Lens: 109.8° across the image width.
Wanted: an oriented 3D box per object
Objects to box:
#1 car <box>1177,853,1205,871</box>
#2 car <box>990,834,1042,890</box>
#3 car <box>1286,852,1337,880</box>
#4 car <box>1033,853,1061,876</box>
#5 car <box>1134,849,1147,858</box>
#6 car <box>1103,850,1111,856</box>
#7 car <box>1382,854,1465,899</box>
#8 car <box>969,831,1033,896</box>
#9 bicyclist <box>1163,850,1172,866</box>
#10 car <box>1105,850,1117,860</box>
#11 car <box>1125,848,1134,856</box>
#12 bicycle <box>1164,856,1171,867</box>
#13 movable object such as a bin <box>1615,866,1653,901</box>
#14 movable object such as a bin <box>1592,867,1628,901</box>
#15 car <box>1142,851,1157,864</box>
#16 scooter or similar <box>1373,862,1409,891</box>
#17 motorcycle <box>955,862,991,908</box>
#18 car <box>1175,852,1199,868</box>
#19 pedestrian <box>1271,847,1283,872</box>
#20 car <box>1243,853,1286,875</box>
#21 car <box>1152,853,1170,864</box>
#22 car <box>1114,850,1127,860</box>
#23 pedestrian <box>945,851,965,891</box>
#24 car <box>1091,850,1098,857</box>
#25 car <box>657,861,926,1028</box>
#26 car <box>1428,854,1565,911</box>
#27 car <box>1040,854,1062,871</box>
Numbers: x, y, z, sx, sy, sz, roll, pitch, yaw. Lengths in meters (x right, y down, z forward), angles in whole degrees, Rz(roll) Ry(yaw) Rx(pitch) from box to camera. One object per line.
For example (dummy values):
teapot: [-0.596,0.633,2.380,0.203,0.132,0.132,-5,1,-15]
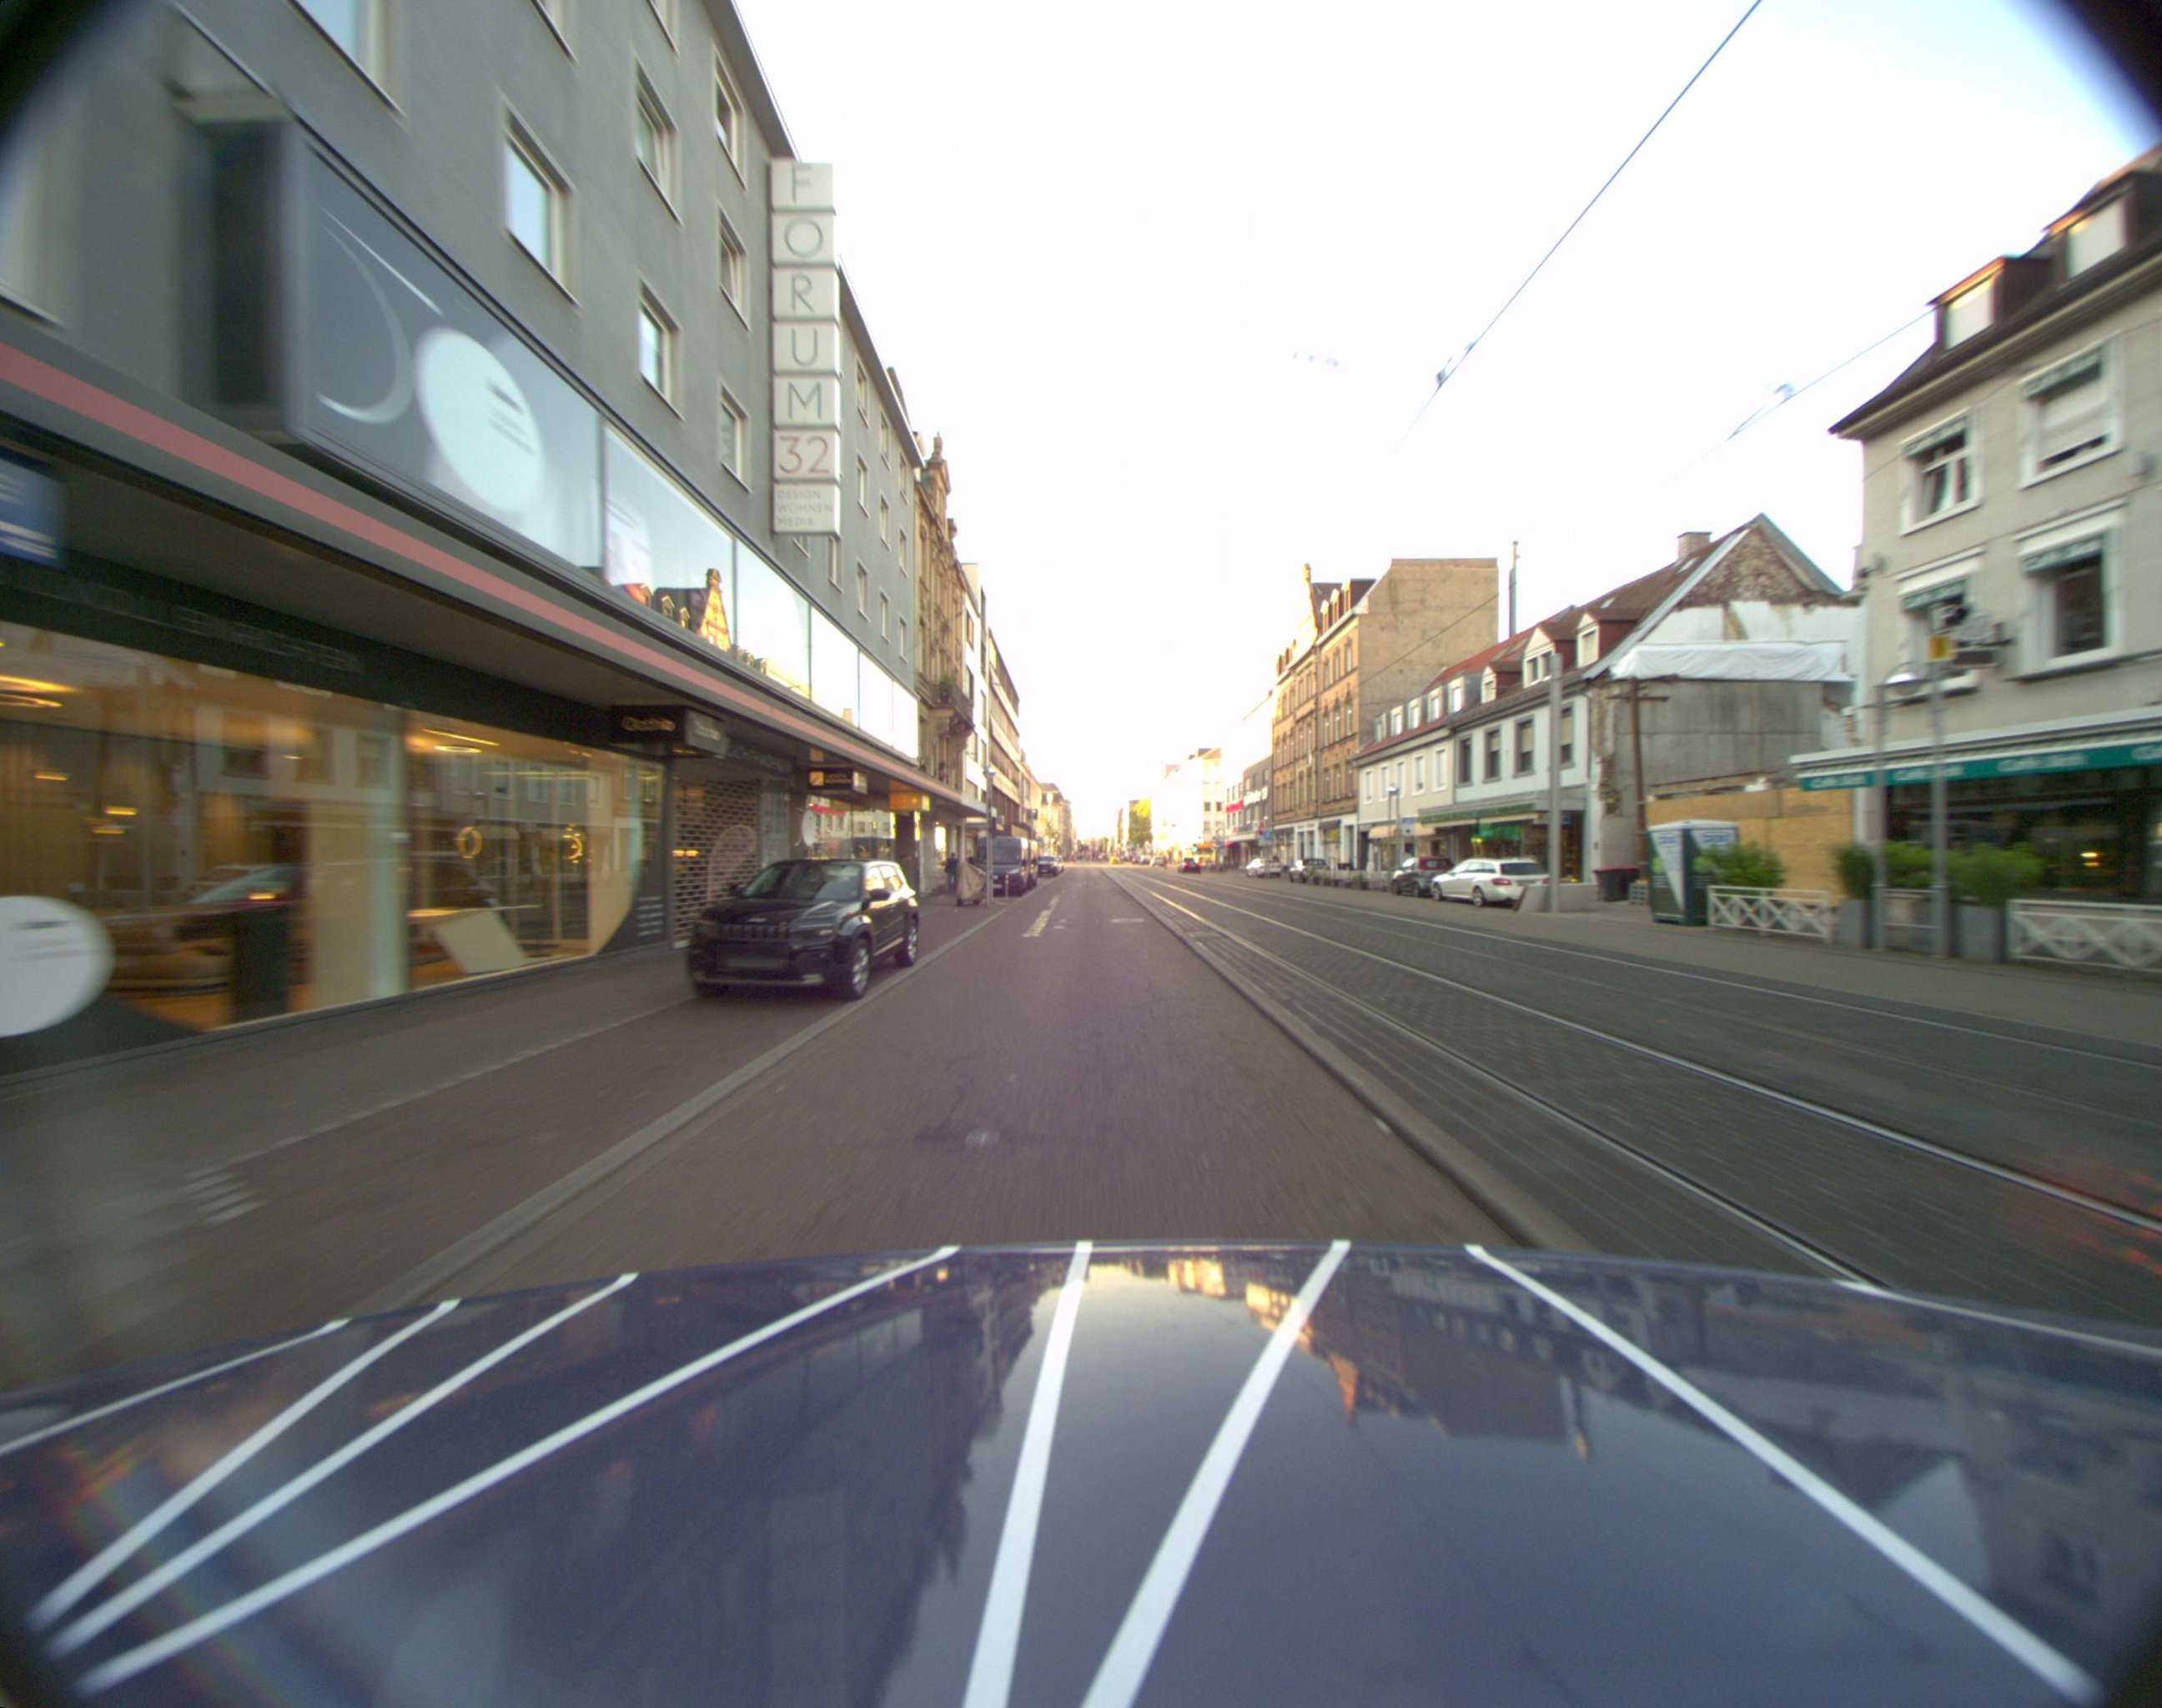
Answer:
car: [10.338,0.720,71.794,1.999,1.554,3.999,-2,1,0]
car: [-3.180,0.358,38.419,1.998,2.559,5.604,-2,1,1]
car: [13.588,0.704,44.986,1.846,1.484,3.815,-2,1,1]
car: [-2.675,0.845,60.794,1.999,1.663,3.876,-2,1,0]
car: [10.807,-0.093,138.931,1.999,1.685,3.999,-2,1,0]
car: [7.205,-0.394,209.425,1.998,1.546,3.683,-2,1,2]
car: [13.170,0.829,29.425,1.660,1.561,3.470,-2,1,1]
car: [-3.250,0.362,32.104,2.080,2.434,5.603,-2,0,-1]
bicyclist: [10.219,0.433,89.478,0.882,1.795,0.900,-2,1,1]
car: [6.155,0.189,155.487,1.999,1.781,3.681,-2,1,-3]
car: [12.163,-0.505,190.780,1.999,2.002,3.999,-2,1,0]
bicycle: [10.198,0.883,89.567,0.493,1.183,2.265,-2,1,0]
movable object such as a bin: [17.225,0.919,23.676,0.684,1.039,0.657,-2,1,5]
movable object such as a bin: [16.511,0.940,23.731,0.684,1.039,0.657,0,0,5]
car: [11.037,0.540,122.295,1.999,1.830,3.999,-2,1,0]
scooter or similar: [13.228,0.970,32.427,1.365,1.161,0.311,-2,1,3]
motorcycle: [-3.468,0.967,24.605,0.785,1.396,2.637,1,0,0]
car: [11.257,0.666,80.811,1.999,1.544,3.999,-2,1,0]
pedestrian: [16.030,0.424,62.119,0.748,2.002,1.049,-2,1,5]
car: [13.744,0.722,57.096,1.999,1.412,4.402,-2,1,-2]
car: [11.321,0.610,107.921,1.999,1.434,3.999,-2,1,0]
car: [7.376,0.217,142.549,1.999,1.781,3.681,-2,1,-3]
pedestrian: [-5.577,0.750,33.602,0.743,1.746,0.789,2,1,-3]
car: [3.364,-0.119,194.720,1.572,1.781,3.664,-2,1,-1]
car: [-3.201,0.894,9.323,1.744,1.532,3.965,0,1,0]
car: [13.172,0.841,24.445,1.896,1.547,4.622,-2,1,1]
car: [-2.862,0.848,73.813,1.999,1.538,3.876,-2,0,-1]
